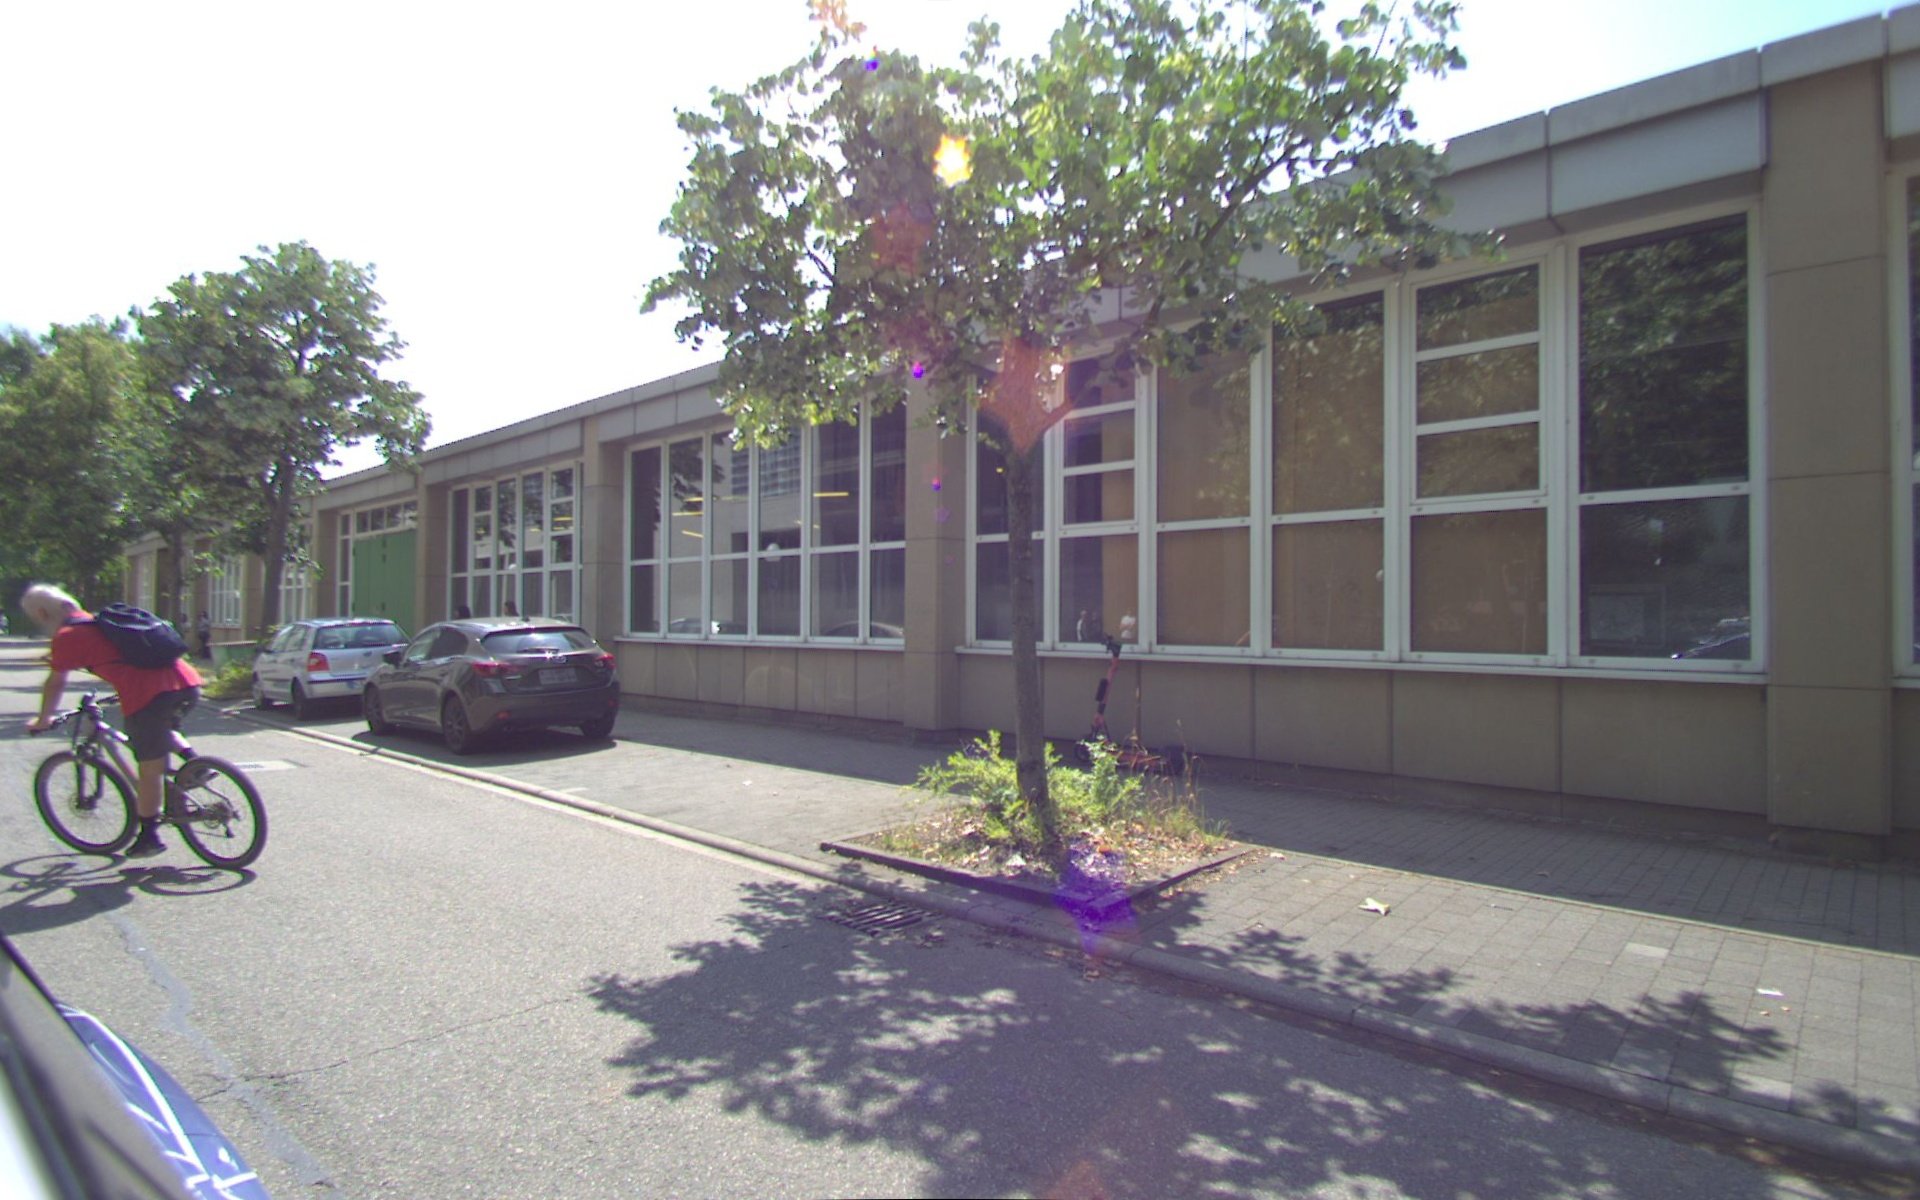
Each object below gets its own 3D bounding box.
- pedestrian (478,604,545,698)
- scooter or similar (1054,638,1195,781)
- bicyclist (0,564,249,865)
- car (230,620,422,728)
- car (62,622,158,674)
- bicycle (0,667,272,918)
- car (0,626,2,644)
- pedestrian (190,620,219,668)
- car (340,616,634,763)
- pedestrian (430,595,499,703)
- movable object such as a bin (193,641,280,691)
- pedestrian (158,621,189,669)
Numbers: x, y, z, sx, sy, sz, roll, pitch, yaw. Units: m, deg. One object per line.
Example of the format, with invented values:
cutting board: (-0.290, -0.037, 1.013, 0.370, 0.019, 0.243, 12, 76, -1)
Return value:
pedestrian: (-7.544, 0.850, 17.047, 0.789, 1.553, 0.661, 0, -2, 12)
scooter or similar: (1.490, 0.970, 9.304, 1.246, 1.216, 0.378, -2, -1, 42)
bicyclist: (-4.859, 0.617, 5.870, 0.957, 1.555, 0.829, -1, -4, 34)
car: (-10.099, 1.077, 16.021, 3.752, 1.460, 1.612, -1, 0, 42)
car: (-26.256, 1.442, 31.232, 3.676, 1.460, 1.779, -1, 0, 42)
bicycle: (-4.902, 1.007, 5.865, 1.926, 1.049, 0.809, 3, 1, 33)
car: (-77.315, 2.809, 78.933, 1.804, 1.460, 3.626, -1, 0, 41)
pedestrian: (-25.710, 1.493, 34.423, 0.551, 1.593, 0.597, -2, -5, 40)
car: (-5.855, 0.978, 12.280, 4.289, 1.446, 1.707, -2, -1, 42)
pedestrian: (-8.166, 0.801, 16.690, 0.789, 1.741, 0.599, 0, -2, 12)
movable object such as a bin: (-16.011, 1.435, 22.393, 1.696, 0.992, 1.277, -3, -1, 44)
pedestrian: (-26.259, 1.511, 33.796, 0.595, 1.593, 0.553, 2, -4, -17)
